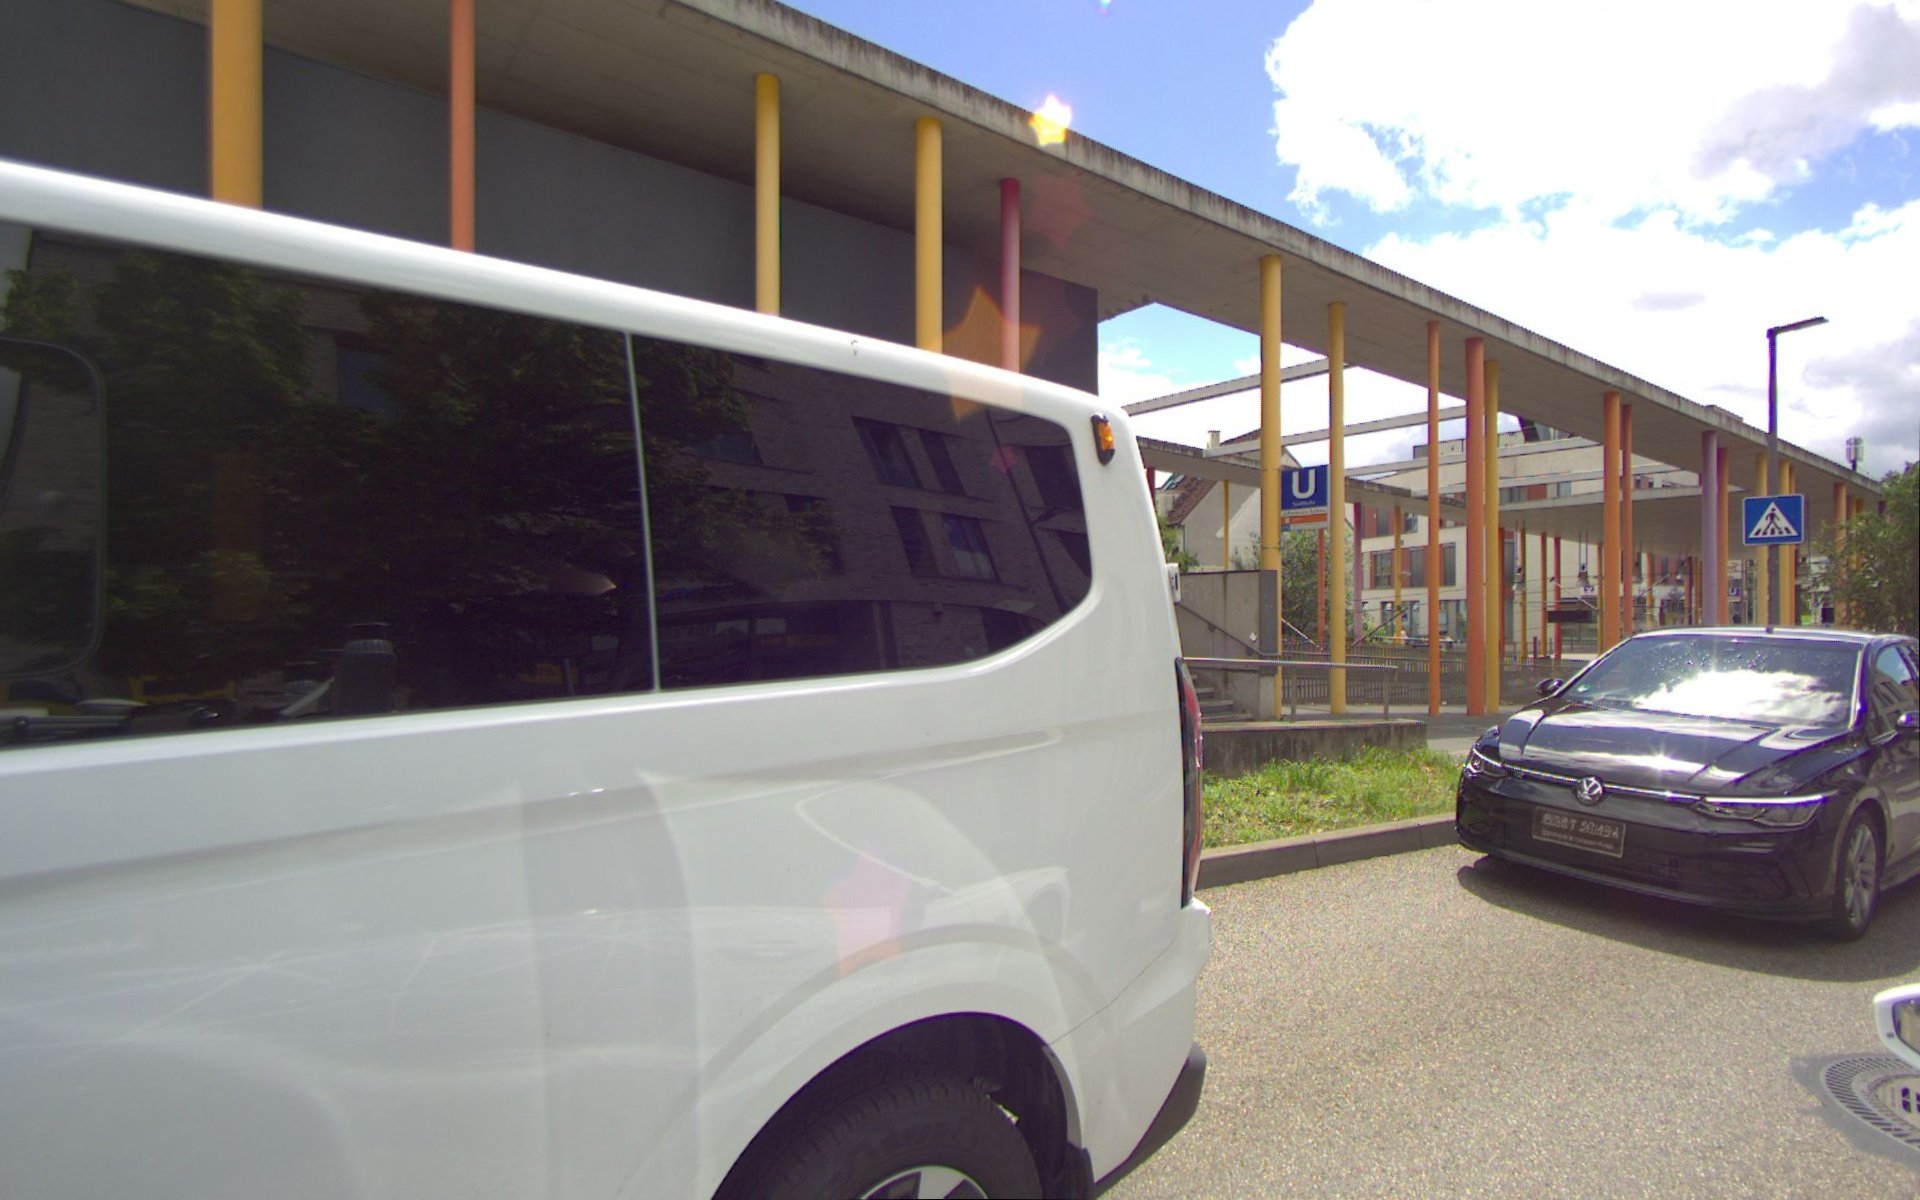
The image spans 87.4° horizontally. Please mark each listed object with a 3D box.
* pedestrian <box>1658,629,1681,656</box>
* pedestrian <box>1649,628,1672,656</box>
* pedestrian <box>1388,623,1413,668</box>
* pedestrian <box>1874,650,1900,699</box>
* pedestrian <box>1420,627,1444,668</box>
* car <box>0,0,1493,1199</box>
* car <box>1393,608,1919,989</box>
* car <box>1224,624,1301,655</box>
[{"bbox_3d":[38.054,2.251,53.900,0.695,1.398,0.816,-1,1,-37],"label":"pedestrian"},{"bbox_3d":[37.214,2.216,53.336,0.695,1.398,0.816,-1,1,-37],"label":"pedestrian"},{"bbox_3d":[19.088,1.962,43.511,0.793,1.908,0.637,3,-1,-38],"label":"pedestrian"},{"bbox_3d":[35.875,2.872,38.864,0.703,1.854,0.582,3,-1,-36],"label":"pedestrian"},{"bbox_3d":[20.091,2.029,42.760,0.724,1.684,0.637,3,-1,-38],"label":"pedestrian"},{"bbox_3d":[-1.479,0.399,1.642,5.342,2.040,1.980,1,1,-36],"label":"car"},{"bbox_3d":[4.557,0.831,5.938,4.193,1.483,1.760,1,0,-36],"label":"car"},{"bbox_3d":[15.183,1.982,50.569,1.548,1.355,3.978,3,-1,-22],"label":"car"}]
